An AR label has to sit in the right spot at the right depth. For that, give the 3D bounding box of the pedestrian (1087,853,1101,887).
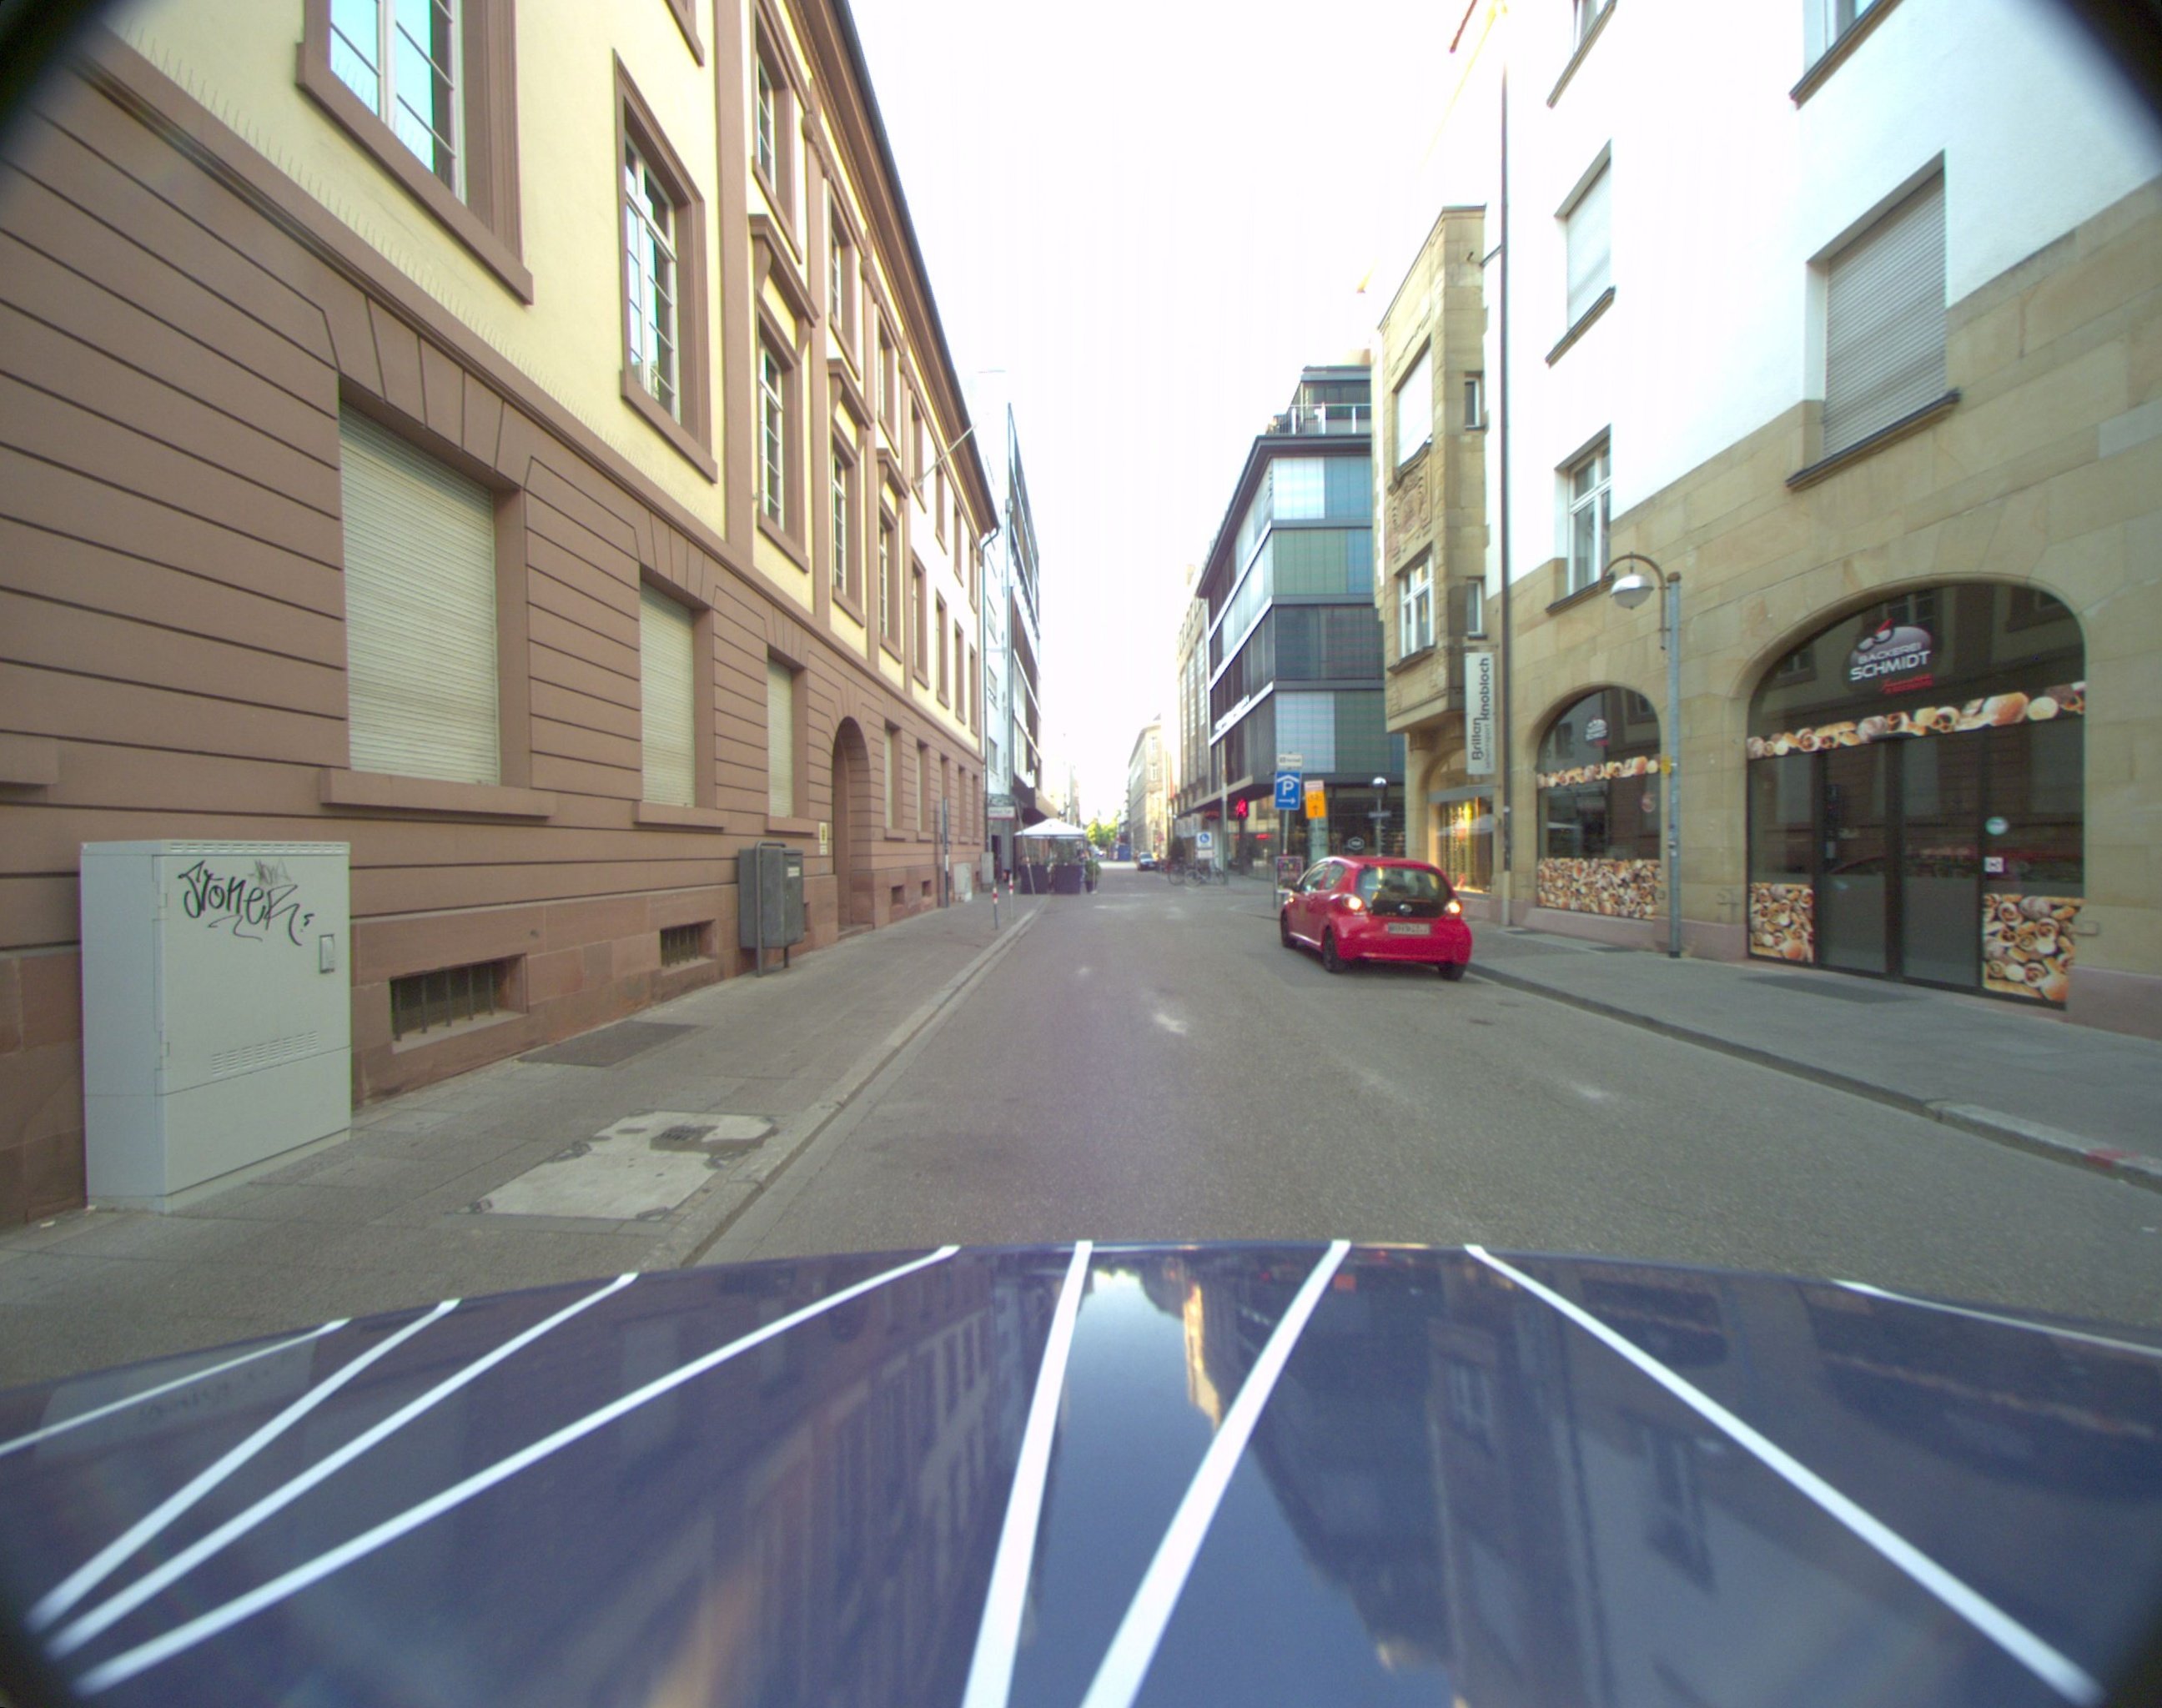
[{"bbox_3d":[0.542,0.651,31.335,0.575,1.412,0.868,-1,1,2],"label":"pedestrian"}]

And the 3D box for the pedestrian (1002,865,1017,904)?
[{"bbox_3d":[-3.311,1.416,35.147,0.640,1.762,0.602,-1,1,-4],"label":"pedestrian"}]

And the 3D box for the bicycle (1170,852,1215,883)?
[{"bbox_3d":[5.132,0.603,34.909,1.902,1.262,0.538,-5,1,2],"label":"bicycle"}]

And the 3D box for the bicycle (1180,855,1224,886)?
[{"bbox_3d":[4.870,0.662,30.697,1.669,1.197,0.509,-2,1,1],"label":"bicycle"}]

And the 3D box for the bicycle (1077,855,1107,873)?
[{"bbox_3d":[0.736,0.689,53.072,2.038,1.161,0.619,2,1,0],"label":"bicycle"}]

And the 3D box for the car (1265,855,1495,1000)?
[{"bbox_3d":[3.829,0.834,10.506,1.661,1.461,3.932,3,1,2],"label":"car"}]

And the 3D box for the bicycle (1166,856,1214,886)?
[{"bbox_3d":[4.617,0.712,32.133,1.902,1.174,0.517,-3,-1,0],"label":"bicycle"}]

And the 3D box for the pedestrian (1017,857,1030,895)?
[{"bbox_3d":[-1.995,0.739,26.253,0.363,1.298,0.494,-1,1,-13],"label":"pedestrian"}]

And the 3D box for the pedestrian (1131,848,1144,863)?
[{"bbox_3d":[6.117,0.173,82.452,0.917,1.563,0.995,0,1,45],"label":"pedestrian"}]

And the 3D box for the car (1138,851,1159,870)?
[{"bbox_3d":[5.271,0.461,59.364,1.602,1.415,3.605,-1,0,5],"label":"car"}]

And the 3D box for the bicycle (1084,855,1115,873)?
[{"bbox_3d":[1.217,0.656,51.269,2.038,1.161,0.665,2,1,0],"label":"bicycle"}]

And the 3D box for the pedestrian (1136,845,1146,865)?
[{"bbox_3d":[6.282,0.092,79.394,0.804,2.002,0.878,-1,1,-6],"label":"pedestrian"}]

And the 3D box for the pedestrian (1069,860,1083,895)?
[{"bbox_3d":[-0.176,0.815,26.380,0.400,1.206,0.383,-1,1,-8],"label":"pedestrian"}]
